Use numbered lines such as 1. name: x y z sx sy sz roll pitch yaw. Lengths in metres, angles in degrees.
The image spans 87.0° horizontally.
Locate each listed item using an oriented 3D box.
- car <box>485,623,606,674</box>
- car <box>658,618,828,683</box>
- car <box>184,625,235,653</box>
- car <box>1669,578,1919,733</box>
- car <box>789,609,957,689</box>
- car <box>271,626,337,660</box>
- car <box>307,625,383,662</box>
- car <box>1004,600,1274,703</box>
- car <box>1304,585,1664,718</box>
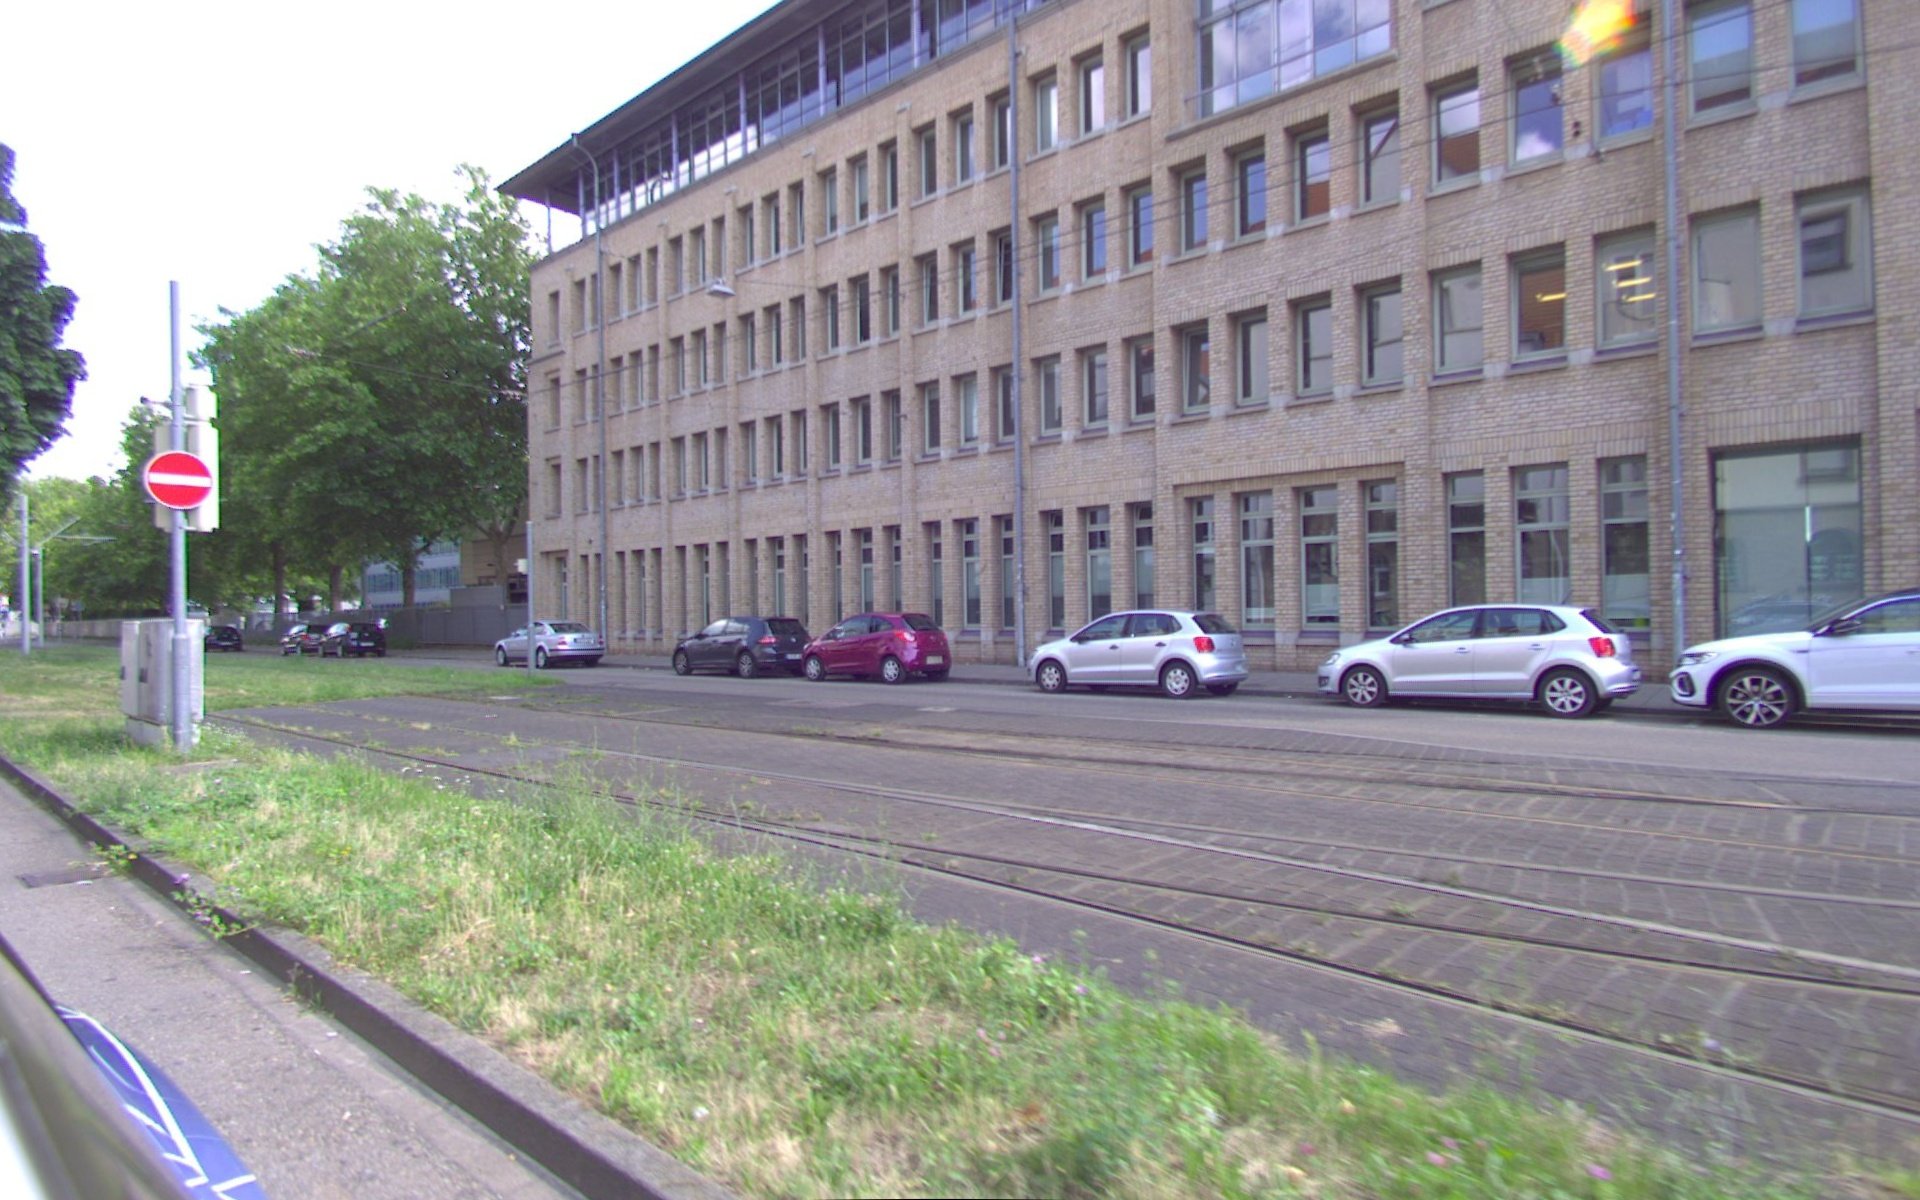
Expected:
1. car: -12.712 1.443 30.912 4.484 1.407 1.697 -2 -1 42
2. car: -5.292 1.175 24.416 4.238 1.407 1.912 -2 -1 42
3. car: -41.969 2.172 56.580 4.000 1.475 1.580 -2 -1 43
4. car: 10.284 0.550 10.780 4.257 1.546 1.912 -2 -1 42
5. car: -1.895 1.003 21.508 3.549 1.542 1.566 -2 -1 42
6. car: -30.003 1.946 46.247 3.900 1.436 1.538 -2 -1 41
7. car: -25.917 1.807 42.596 4.001 1.464 1.782 -2 -1 44
8. car: 2.952 0.819 17.251 4.209 1.542 1.831 -2 -1 42
9. car: 7.061 0.643 13.868 4.014 1.542 1.912 -2 -1 42
